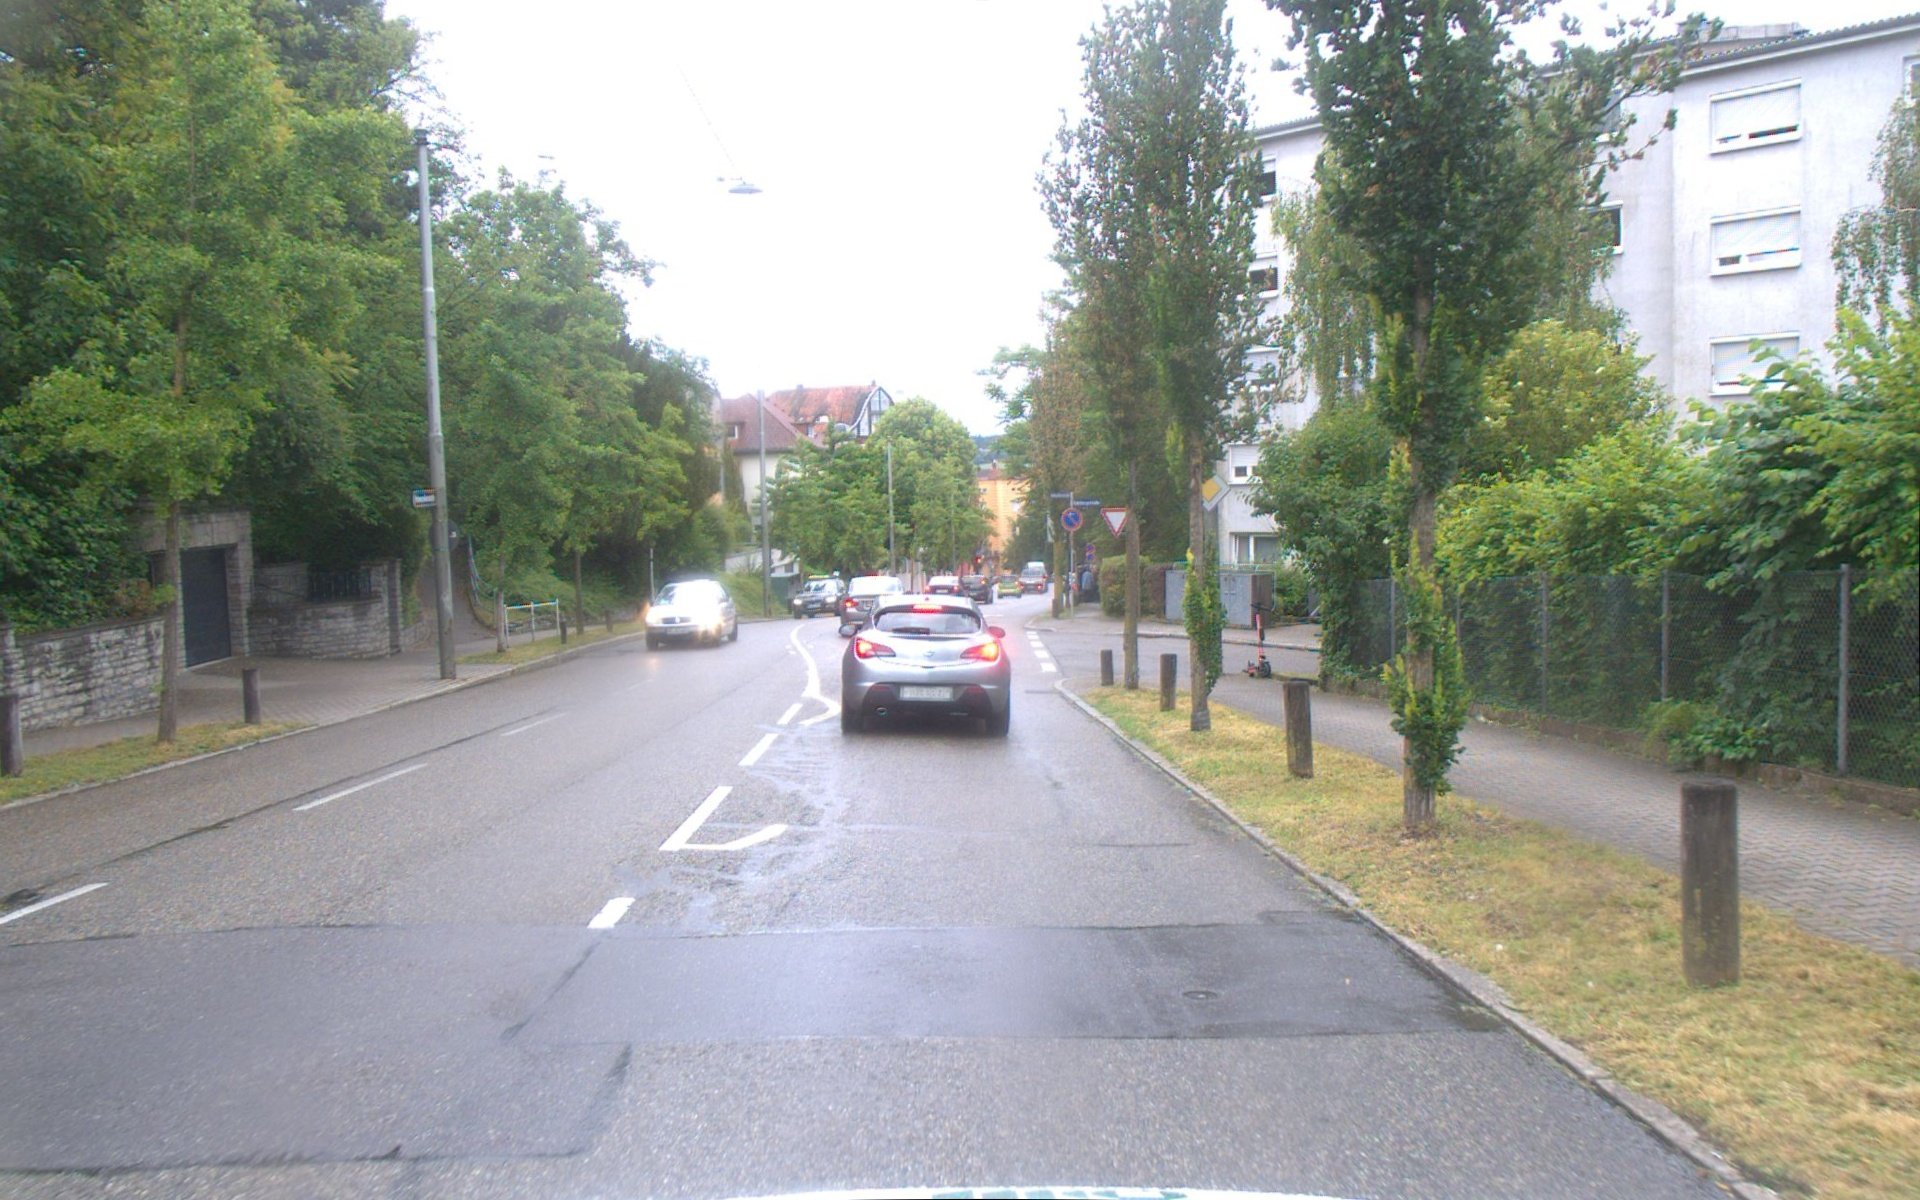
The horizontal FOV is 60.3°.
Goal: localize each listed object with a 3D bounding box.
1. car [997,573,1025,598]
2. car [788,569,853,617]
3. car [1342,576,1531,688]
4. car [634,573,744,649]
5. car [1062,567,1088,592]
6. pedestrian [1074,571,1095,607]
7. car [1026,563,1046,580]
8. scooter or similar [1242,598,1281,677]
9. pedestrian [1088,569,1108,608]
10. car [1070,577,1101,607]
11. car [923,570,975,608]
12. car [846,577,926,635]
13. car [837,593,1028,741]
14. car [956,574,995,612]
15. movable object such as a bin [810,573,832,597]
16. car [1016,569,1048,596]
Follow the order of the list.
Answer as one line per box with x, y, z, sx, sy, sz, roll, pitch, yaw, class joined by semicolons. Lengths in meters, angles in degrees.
3.508;-0.989;113.239;1.717;1.679;4.002;2;1;4;car
-5.255;-0.290;62.880;1.872;1.612;4.588;-4;0;2;car
7.083;0.420;24.968;1.474;1.460;3.998;3;1;-3;car
-6.089;0.208;37.553;1.729;1.511;3.802;-3;2;1;car
10.021;-1.809;143.879;1.951;2.071;4.739;2;2;6;car
6.152;-0.536;81.774;0.724;1.753;0.761;-4;1;-19;pedestrian
8.763;-3.249;189.319;1.951;1.815;4.004;2;2;7;car
5.039;0.619;27.713;0.336;1.276;1.267;2;0;-3;scooter or similar
6.861;-0.572;82.133;0.653;1.868;0.685;-4;1;-19;pedestrian
6.440;-0.409;84.638;1.472;1.460;4.002;-2;0;5;car
-0.448;-0.497;71.332;1.919;1.497;3.953;2;2;4;car
-1.778;0.115;40.921;1.760;1.346;4.001;0;1;1;car
-0.316;0.669;18.688;1.906;1.457;3.883;1;0;-1;car
0.829;-0.405;85.240;1.731;1.812;3.979;2;2;4;car
-8.273;-0.913;98.463;1.245;1.411;0.489;0;1;4;movable object such as a bin
5.935;-1.473;136.324;2.284;2.071;4.739;2;2;6;car
